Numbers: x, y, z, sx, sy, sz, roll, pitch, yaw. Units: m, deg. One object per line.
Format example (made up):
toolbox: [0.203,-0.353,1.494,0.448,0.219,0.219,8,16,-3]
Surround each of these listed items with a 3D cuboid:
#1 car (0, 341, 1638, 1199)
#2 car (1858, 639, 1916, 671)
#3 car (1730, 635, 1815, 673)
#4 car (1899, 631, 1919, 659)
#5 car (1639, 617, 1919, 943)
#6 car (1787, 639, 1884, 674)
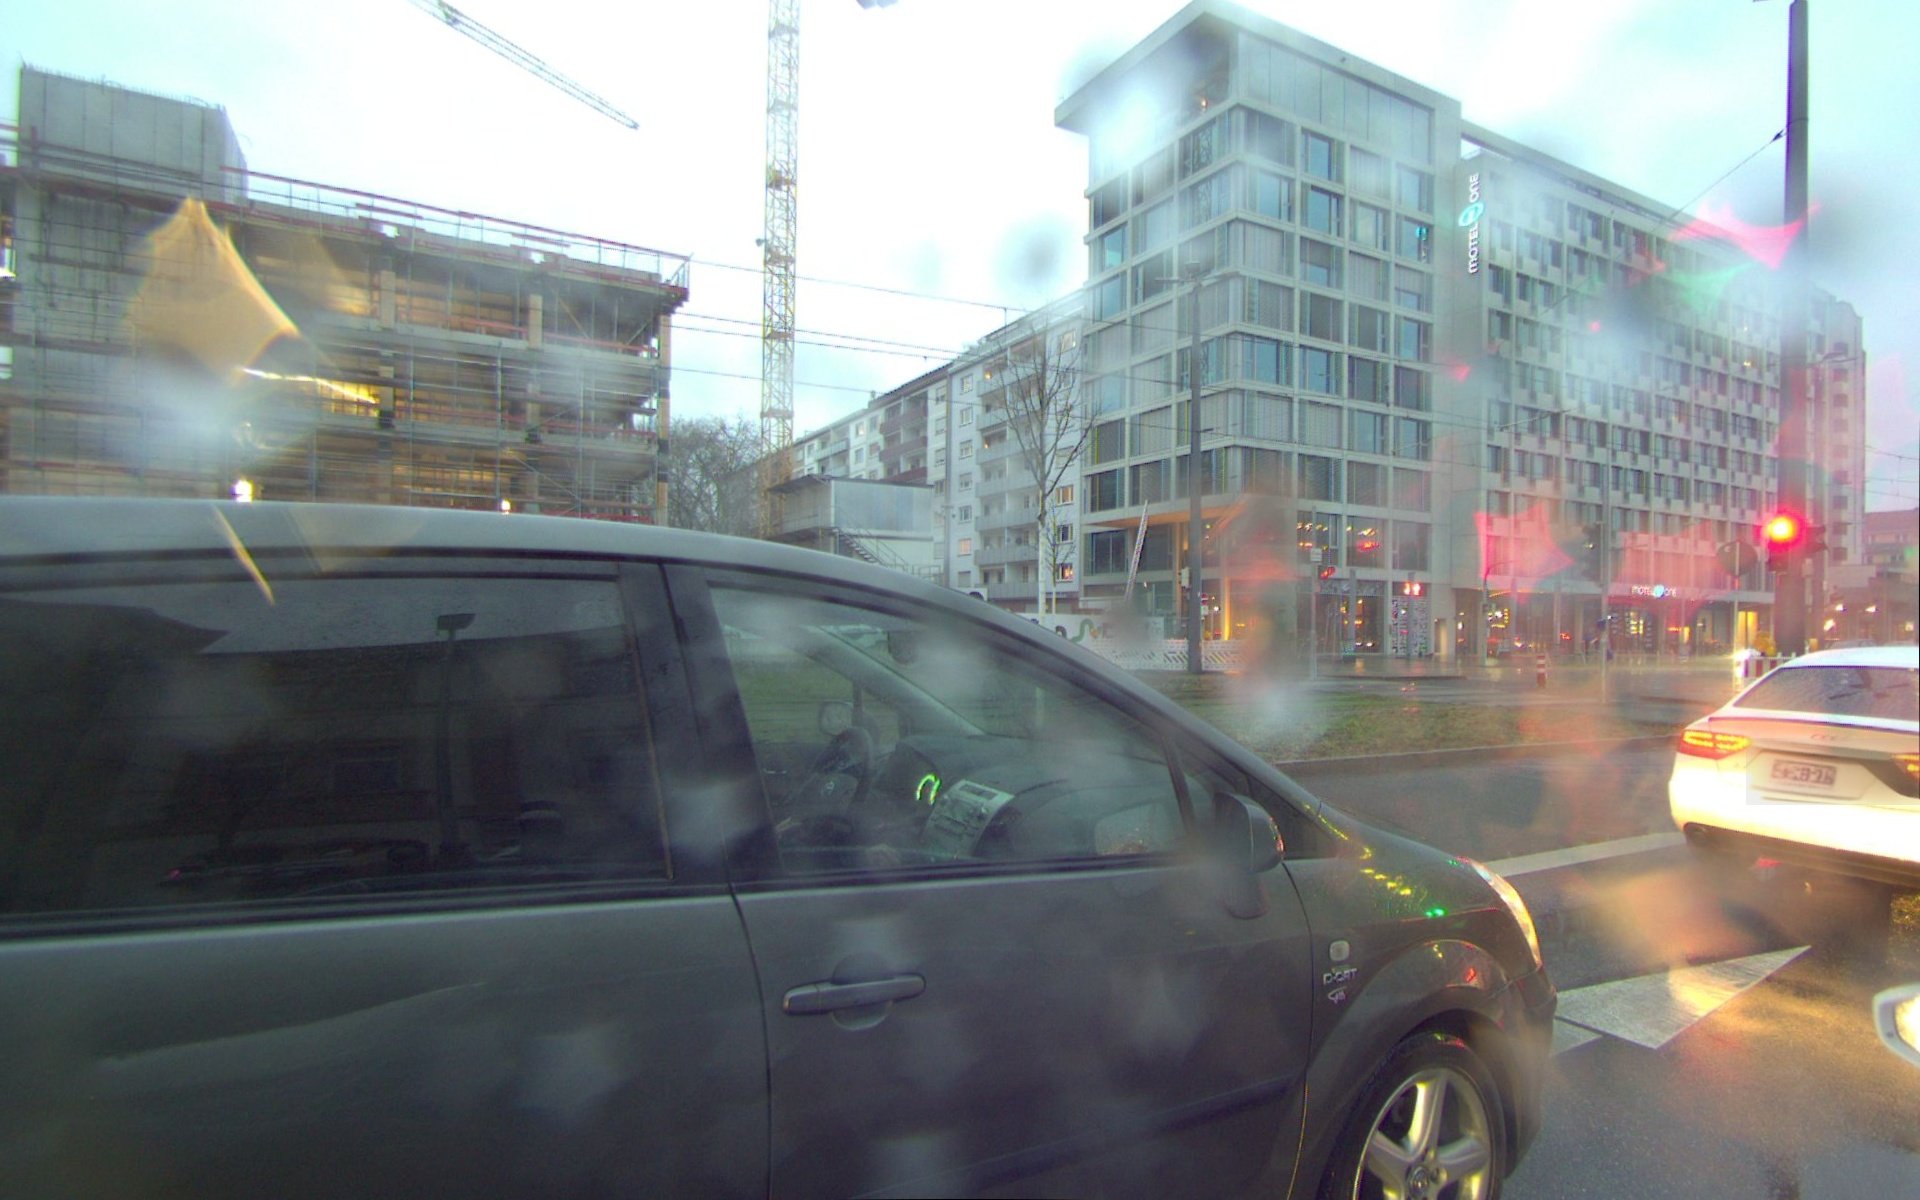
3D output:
car: [-0.483,0.602,2.141,3.956,1.615,1.750,2,0,-32]
car: [48.324,2.834,52.344,5.062,1.481,1.973,2,0,-45]
car: [41.852,2.771,51.733,4.544,1.813,1.872,2,0,-30]
car: [55.481,2.583,57.114,5.042,1.481,1.981,2,0,-34]
car: [6.099,0.909,6.087,4.205,1.489,1.750,2,0,-32]
car: [41.945,2.686,48.097,5.035,1.481,1.984,2,0,-30]
